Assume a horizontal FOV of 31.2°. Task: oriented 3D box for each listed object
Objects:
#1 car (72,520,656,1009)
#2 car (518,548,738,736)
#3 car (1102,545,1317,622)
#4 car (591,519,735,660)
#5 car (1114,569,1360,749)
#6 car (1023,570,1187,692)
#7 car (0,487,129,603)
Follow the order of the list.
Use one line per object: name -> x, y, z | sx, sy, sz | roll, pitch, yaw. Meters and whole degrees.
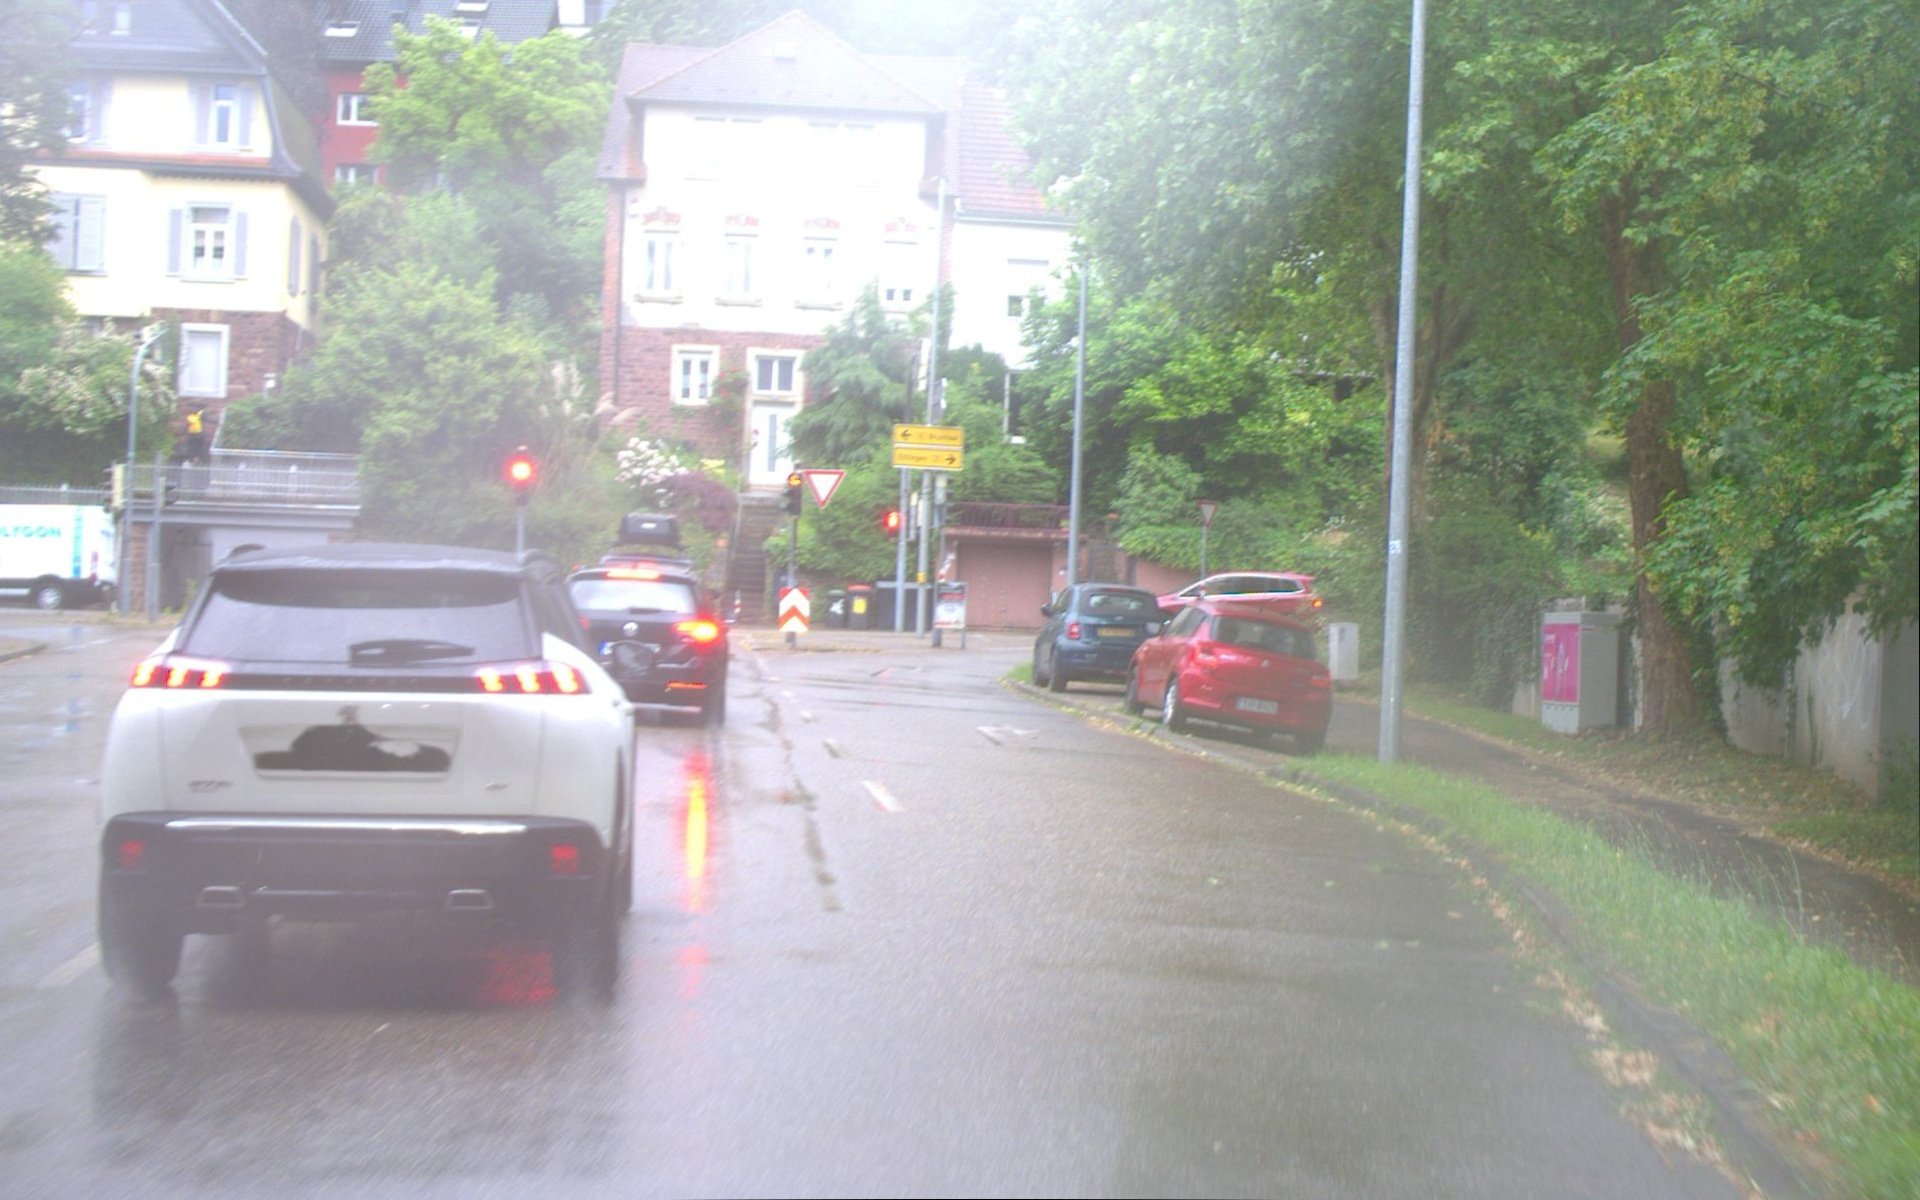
car -> -2.094, 0.501, 13.168 | 1.752, 1.530, 4.368 | 1, 1, -4
car -> -3.109, 0.343, 32.797 | 1.831, 1.451, 4.659 | 5, 1, -4
car -> 5.503, -0.361, 76.154 | 4.567, 1.595, 1.775 | 1, -1, -3
car -> -4.086, -0.192, 47.015 | 1.760, 1.705, 4.602 | 3, 1, -6
car -> 3.025, 0.611, 38.287 | 1.819, 1.512, 3.744 | 9, 1, -7
car -> 1.970, 0.402, 47.730 | 1.749, 1.486, 3.600 | 5, 0, -4
car -> -22.229, -1.320, 78.921 | 5.660, 2.486, 2.316 | 3, -1, -2
